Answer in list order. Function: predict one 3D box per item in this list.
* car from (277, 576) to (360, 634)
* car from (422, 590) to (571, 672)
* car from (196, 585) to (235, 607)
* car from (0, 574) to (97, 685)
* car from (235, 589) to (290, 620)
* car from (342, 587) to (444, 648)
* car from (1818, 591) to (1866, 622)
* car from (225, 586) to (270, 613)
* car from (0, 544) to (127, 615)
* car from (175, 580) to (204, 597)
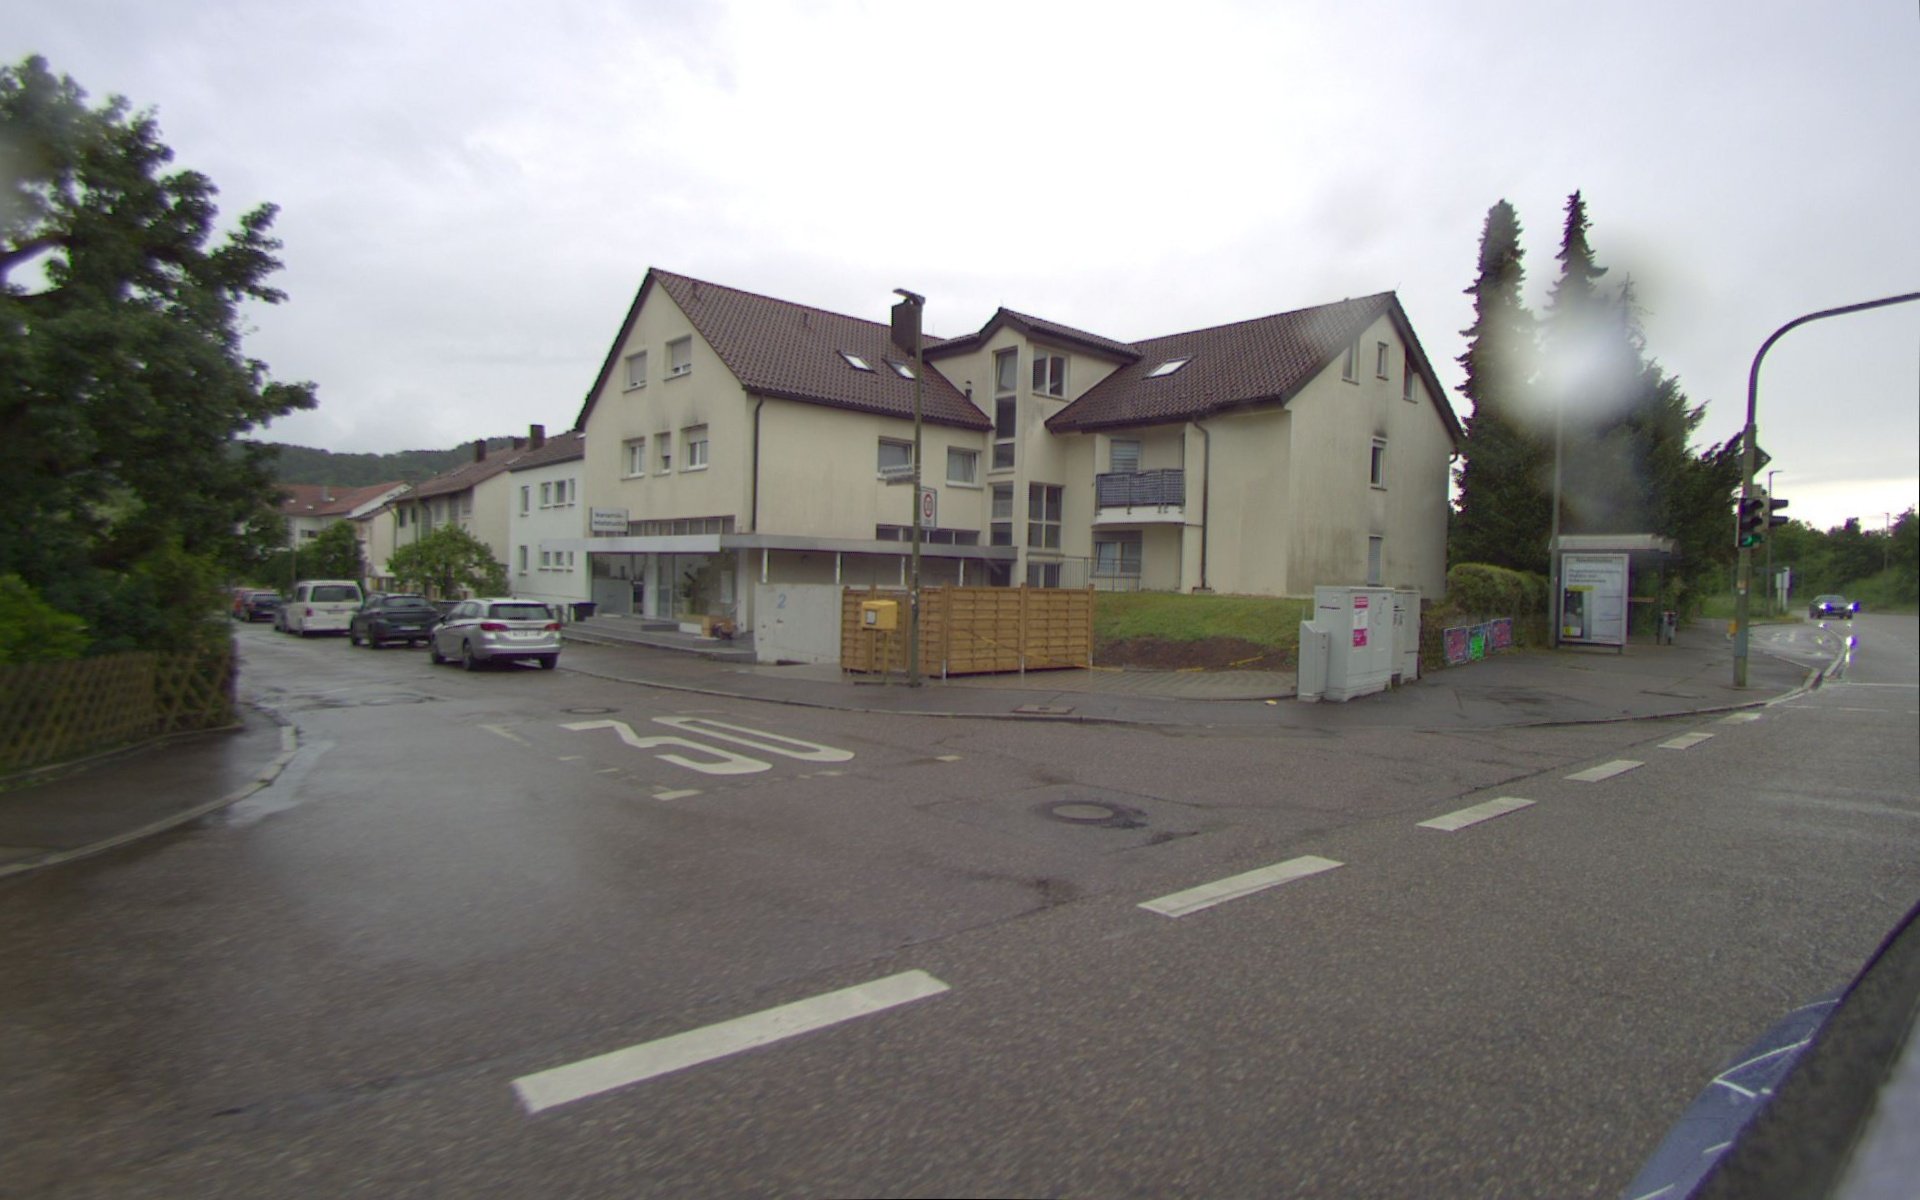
[{"bbox_3d":[-23.256,0.110,36.607,1.813,1.930,4.615,0,2,-42],"label":"car"},{"bbox_3d":[-9.953,0.578,21.586,1.789,1.473,3.993,0,2,-42],"label":"car"},{"bbox_3d":[-50.907,-0.284,69.164,1.813,1.369,3.574,0,2,-42],"label":"car"},{"bbox_3d":[-17.051,0.438,17.919,3.978,1.691,1.868,3,2,37],"label":"car"},{"bbox_3d":[-34.908,0.195,50.609,1.813,1.369,3.574,0,2,-42],"label":"car"},{"bbox_3d":[-16.590,0.444,29.539,1.789,1.574,3.993,0,2,-42],"label":"car"},{"bbox_3d":[57.252,0.402,65.761,1.989,1.865,3.946,2,1,37],"label":"car"},{"bbox_3d":[-38.571,-0.049,54.767,1.572,1.369,3.574,0,2,-42],"label":"car"},{"bbox_3d":[-28.513,-0.618,30.777,4.757,2.079,1.946,0,0,-45],"label":"car"},{"bbox_3d":[-63.728,-0.965,83.685,1.664,1.369,3.299,0,2,-42],"label":"car"}]
